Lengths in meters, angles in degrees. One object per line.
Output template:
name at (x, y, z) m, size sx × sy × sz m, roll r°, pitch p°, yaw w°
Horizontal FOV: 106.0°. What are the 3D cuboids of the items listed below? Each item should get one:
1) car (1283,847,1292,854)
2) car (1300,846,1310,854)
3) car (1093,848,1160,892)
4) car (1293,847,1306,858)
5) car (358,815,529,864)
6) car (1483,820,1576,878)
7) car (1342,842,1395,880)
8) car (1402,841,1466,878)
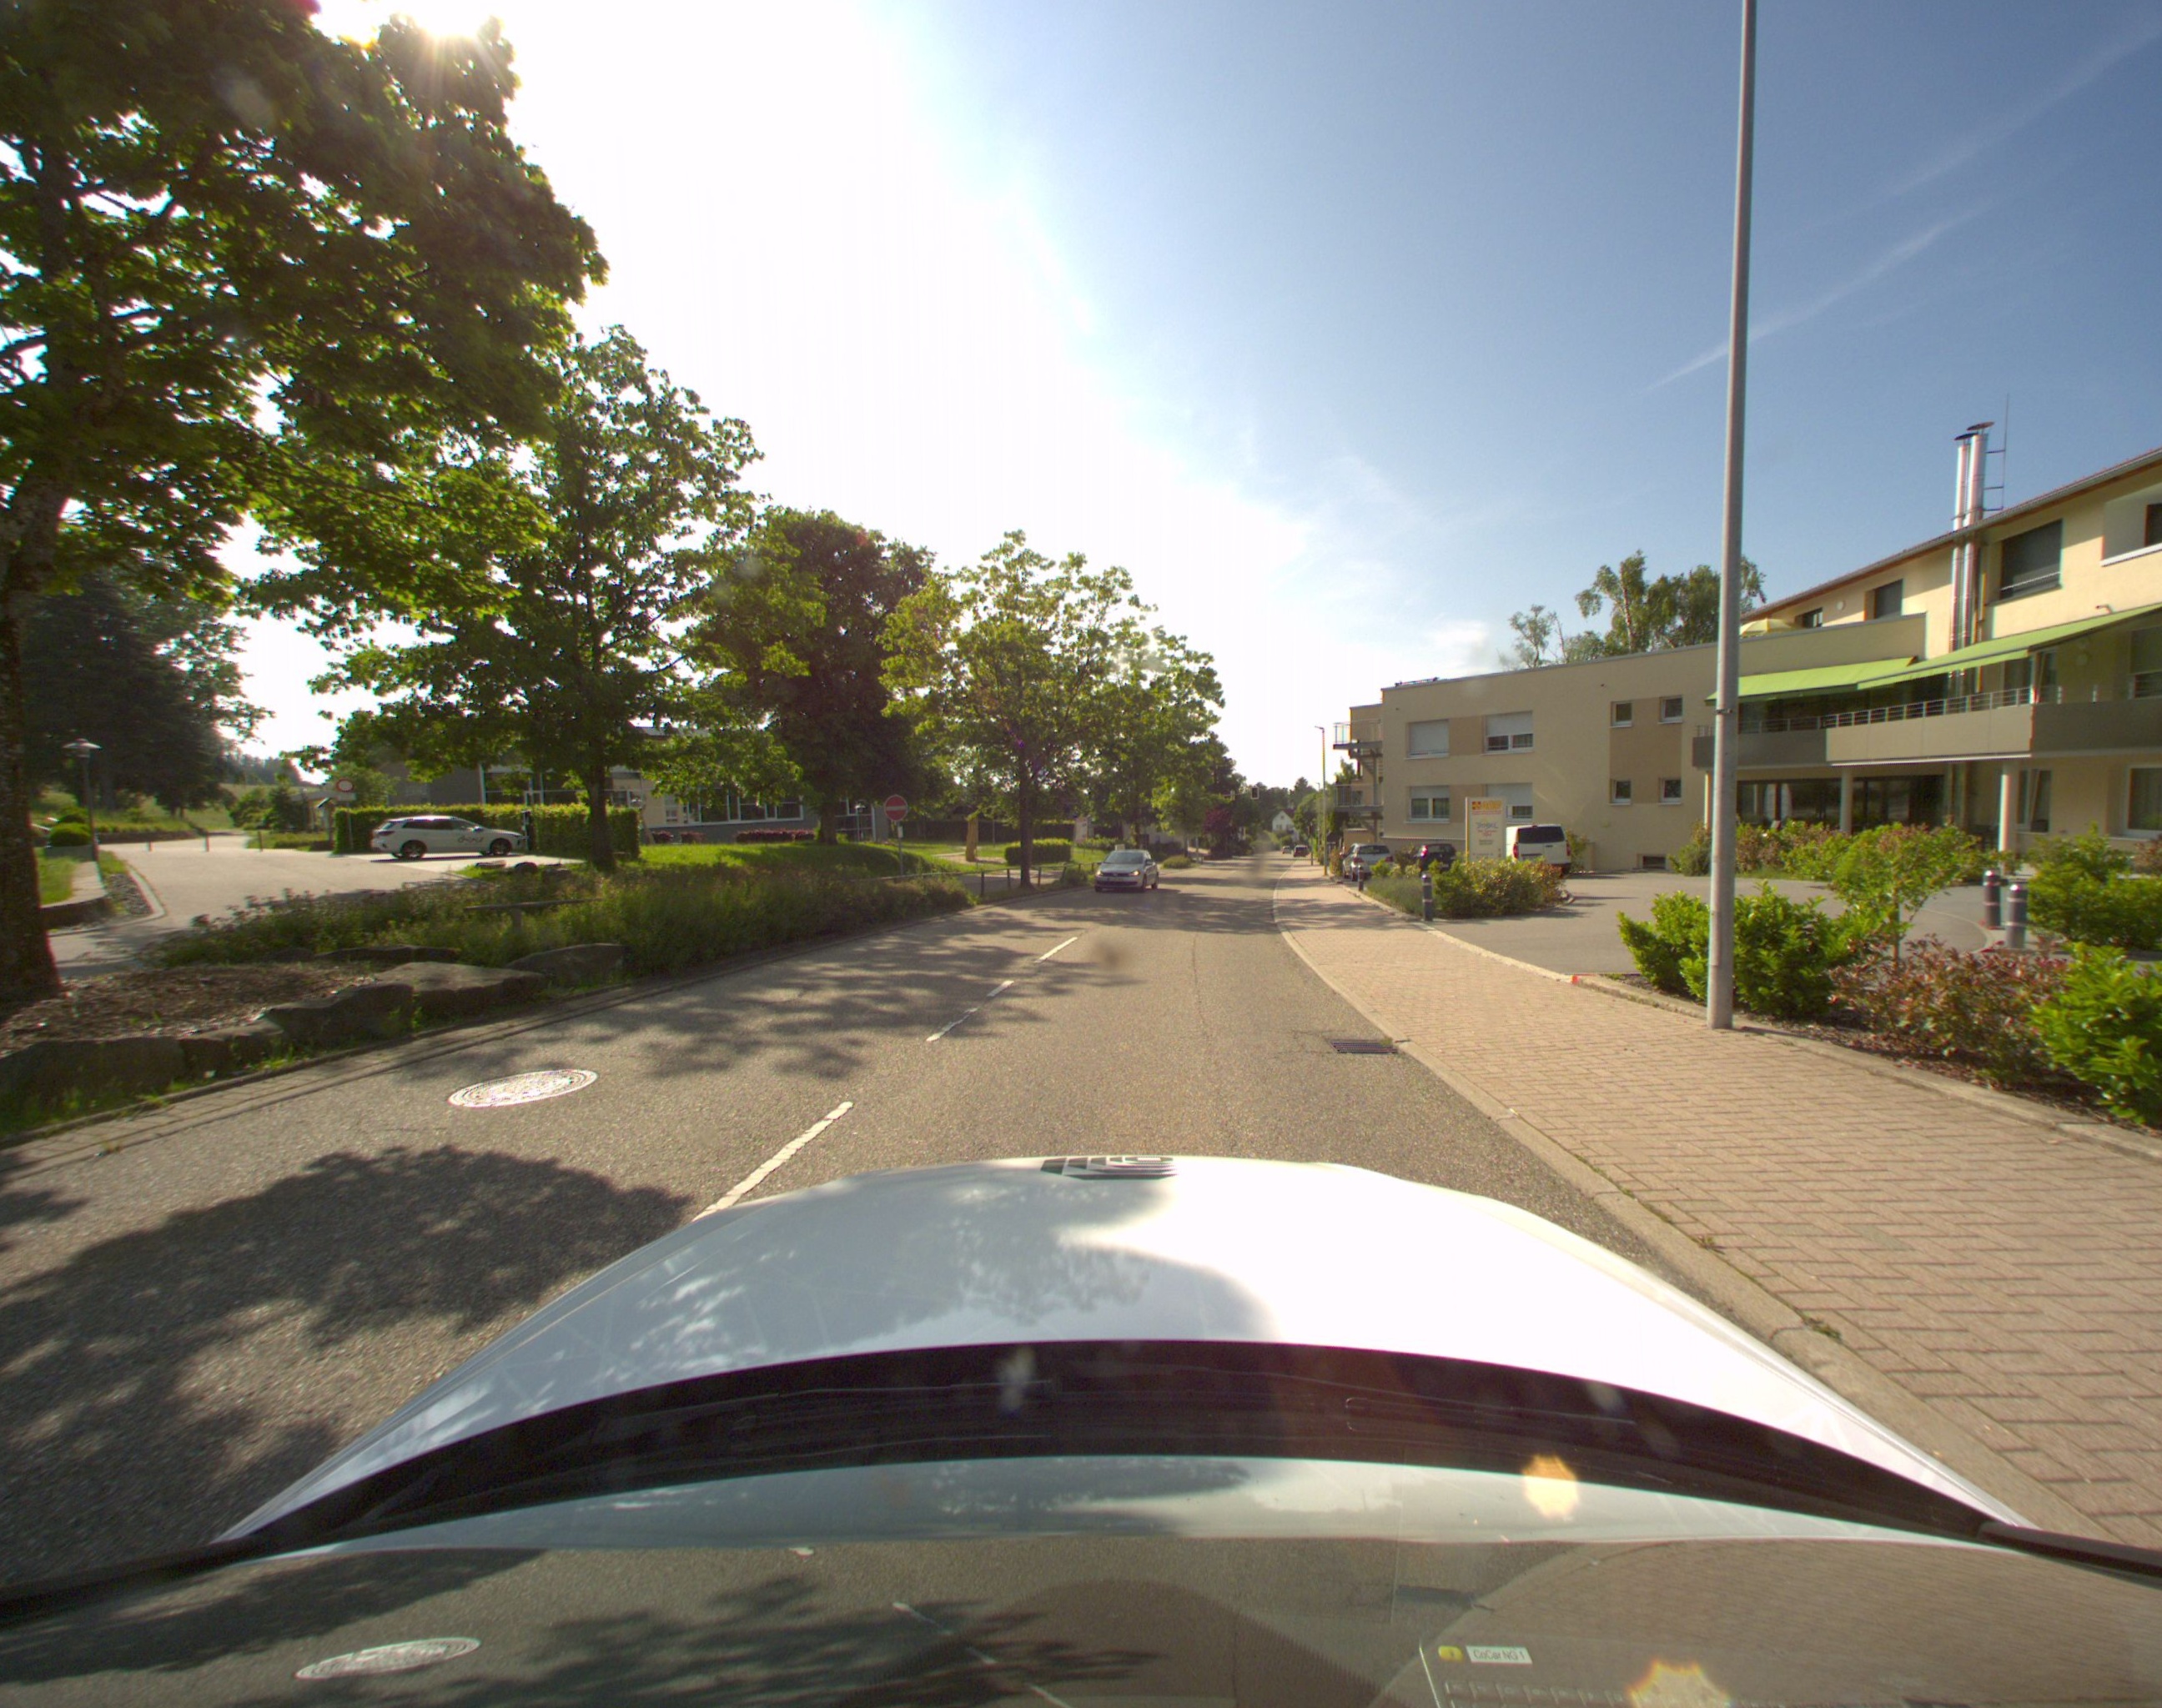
car at (42.891, -0.797, 169.143) m, size 1.695 × 1.427 × 4.025 m, roll -1°, pitch 0°, yaw 17°
car at (43.846, -0.833, 159.425) m, size 1.696 × 1.427 × 4.022 m, roll -1°, pitch 0°, yaw 13°
car at (1.712, 0.509, 29.377) m, size 1.717 × 1.443 × 4.079 m, roll 0°, pitch 1°, yaw 13°
car at (31.762, -0.231, 118.398) m, size 1.696 × 1.427 × 4.022 m, roll -1°, pitch 0°, yaw 13°
car at (-24.257, -0.639, 31.165) m, size 1.975 × 1.533 × 4.762 m, roll 5°, pitch 7°, yaw 38°
car at (16.424, -0.196, 30.071) m, size 1.791 × 1.935 × 4.752 m, roll -1°, pitch 0°, yaw 13°
car at (12.451, 0.290, 35.461) m, size 1.696 × 1.535 × 4.022 m, roll -1°, pitch 0°, yaw 13°
car at (14.588, 0.207, 33.845) m, size 1.696 × 1.427 × 4.022 m, roll -1°, pitch 0°, yaw 13°
